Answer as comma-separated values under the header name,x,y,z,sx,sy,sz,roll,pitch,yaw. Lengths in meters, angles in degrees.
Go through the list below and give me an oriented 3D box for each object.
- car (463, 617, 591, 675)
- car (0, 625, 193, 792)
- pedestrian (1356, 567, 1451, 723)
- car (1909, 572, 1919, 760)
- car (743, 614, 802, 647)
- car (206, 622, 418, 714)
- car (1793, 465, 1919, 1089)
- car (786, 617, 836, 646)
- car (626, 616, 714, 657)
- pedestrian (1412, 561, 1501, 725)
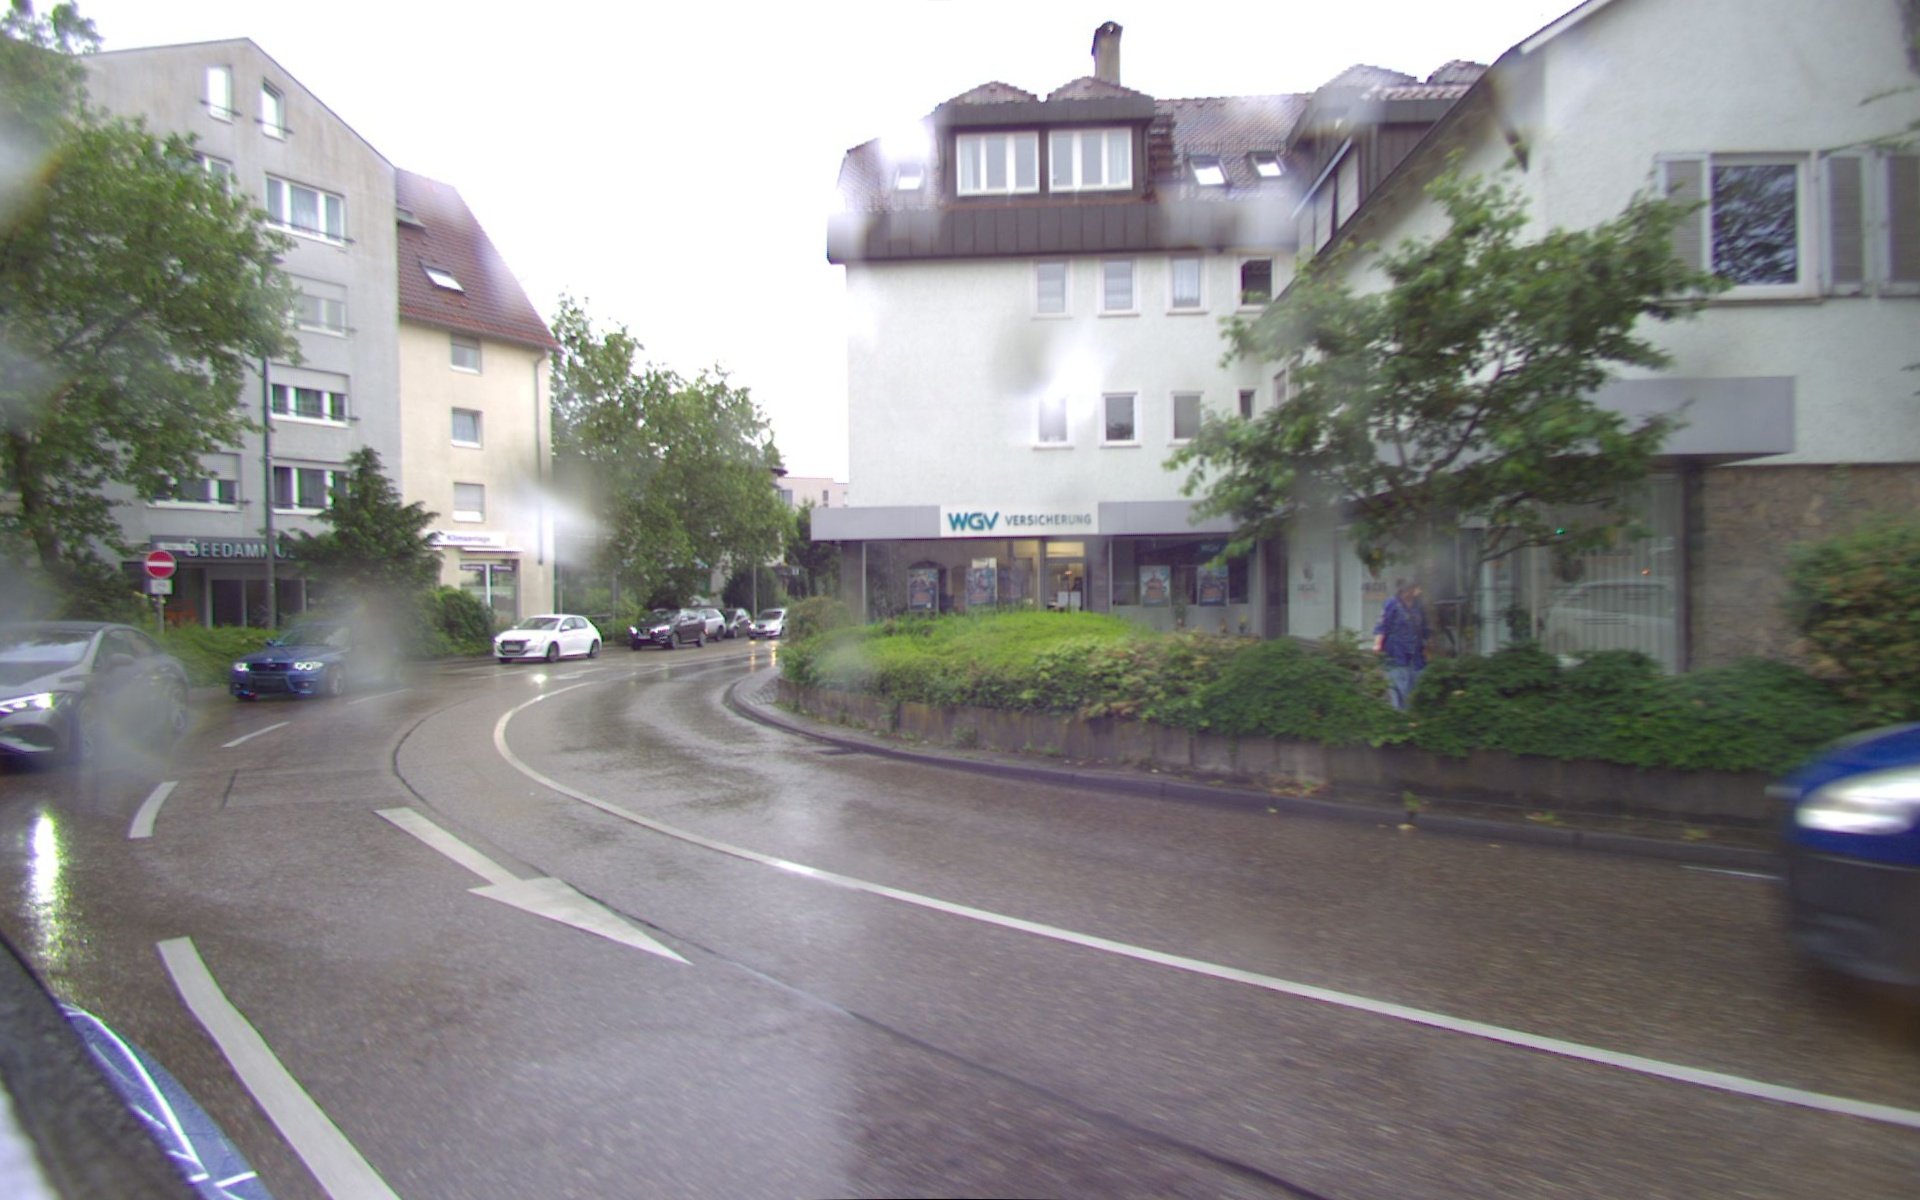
name,x,y,z,sx,sy,sz,roll,pitch,yaw
car,-13.016,1.352,30.712,1.793,1.577,3.991,-2,-1,7
car,-10.385,1.069,11.157,1.965,1.504,4.328,-1,-1,-21
pedestrian,5.032,0.497,11.519,0.608,1.684,0.863,-2,-1,-2
car,9.104,0.543,6.959,1.977,1.641,3.636,-1,-1,8
car,-9.655,1.549,52.372,1.824,1.633,3.990,-1,-1,8
car,-12.630,1.246,20.091,1.747,1.544,4.383,-1,-1,-6
car,5.110,0.505,2.657,4.370,1.896,1.975,-1,0,37
car,-8.724,1.828,59.561,1.812,1.564,3.990,-3,-1,8
car,-11.703,1.454,41.127,1.977,1.464,3.990,-2,0,8
pedestrian,5.741,0.486,11.724,0.608,1.833,0.673,-2,-1,-3
